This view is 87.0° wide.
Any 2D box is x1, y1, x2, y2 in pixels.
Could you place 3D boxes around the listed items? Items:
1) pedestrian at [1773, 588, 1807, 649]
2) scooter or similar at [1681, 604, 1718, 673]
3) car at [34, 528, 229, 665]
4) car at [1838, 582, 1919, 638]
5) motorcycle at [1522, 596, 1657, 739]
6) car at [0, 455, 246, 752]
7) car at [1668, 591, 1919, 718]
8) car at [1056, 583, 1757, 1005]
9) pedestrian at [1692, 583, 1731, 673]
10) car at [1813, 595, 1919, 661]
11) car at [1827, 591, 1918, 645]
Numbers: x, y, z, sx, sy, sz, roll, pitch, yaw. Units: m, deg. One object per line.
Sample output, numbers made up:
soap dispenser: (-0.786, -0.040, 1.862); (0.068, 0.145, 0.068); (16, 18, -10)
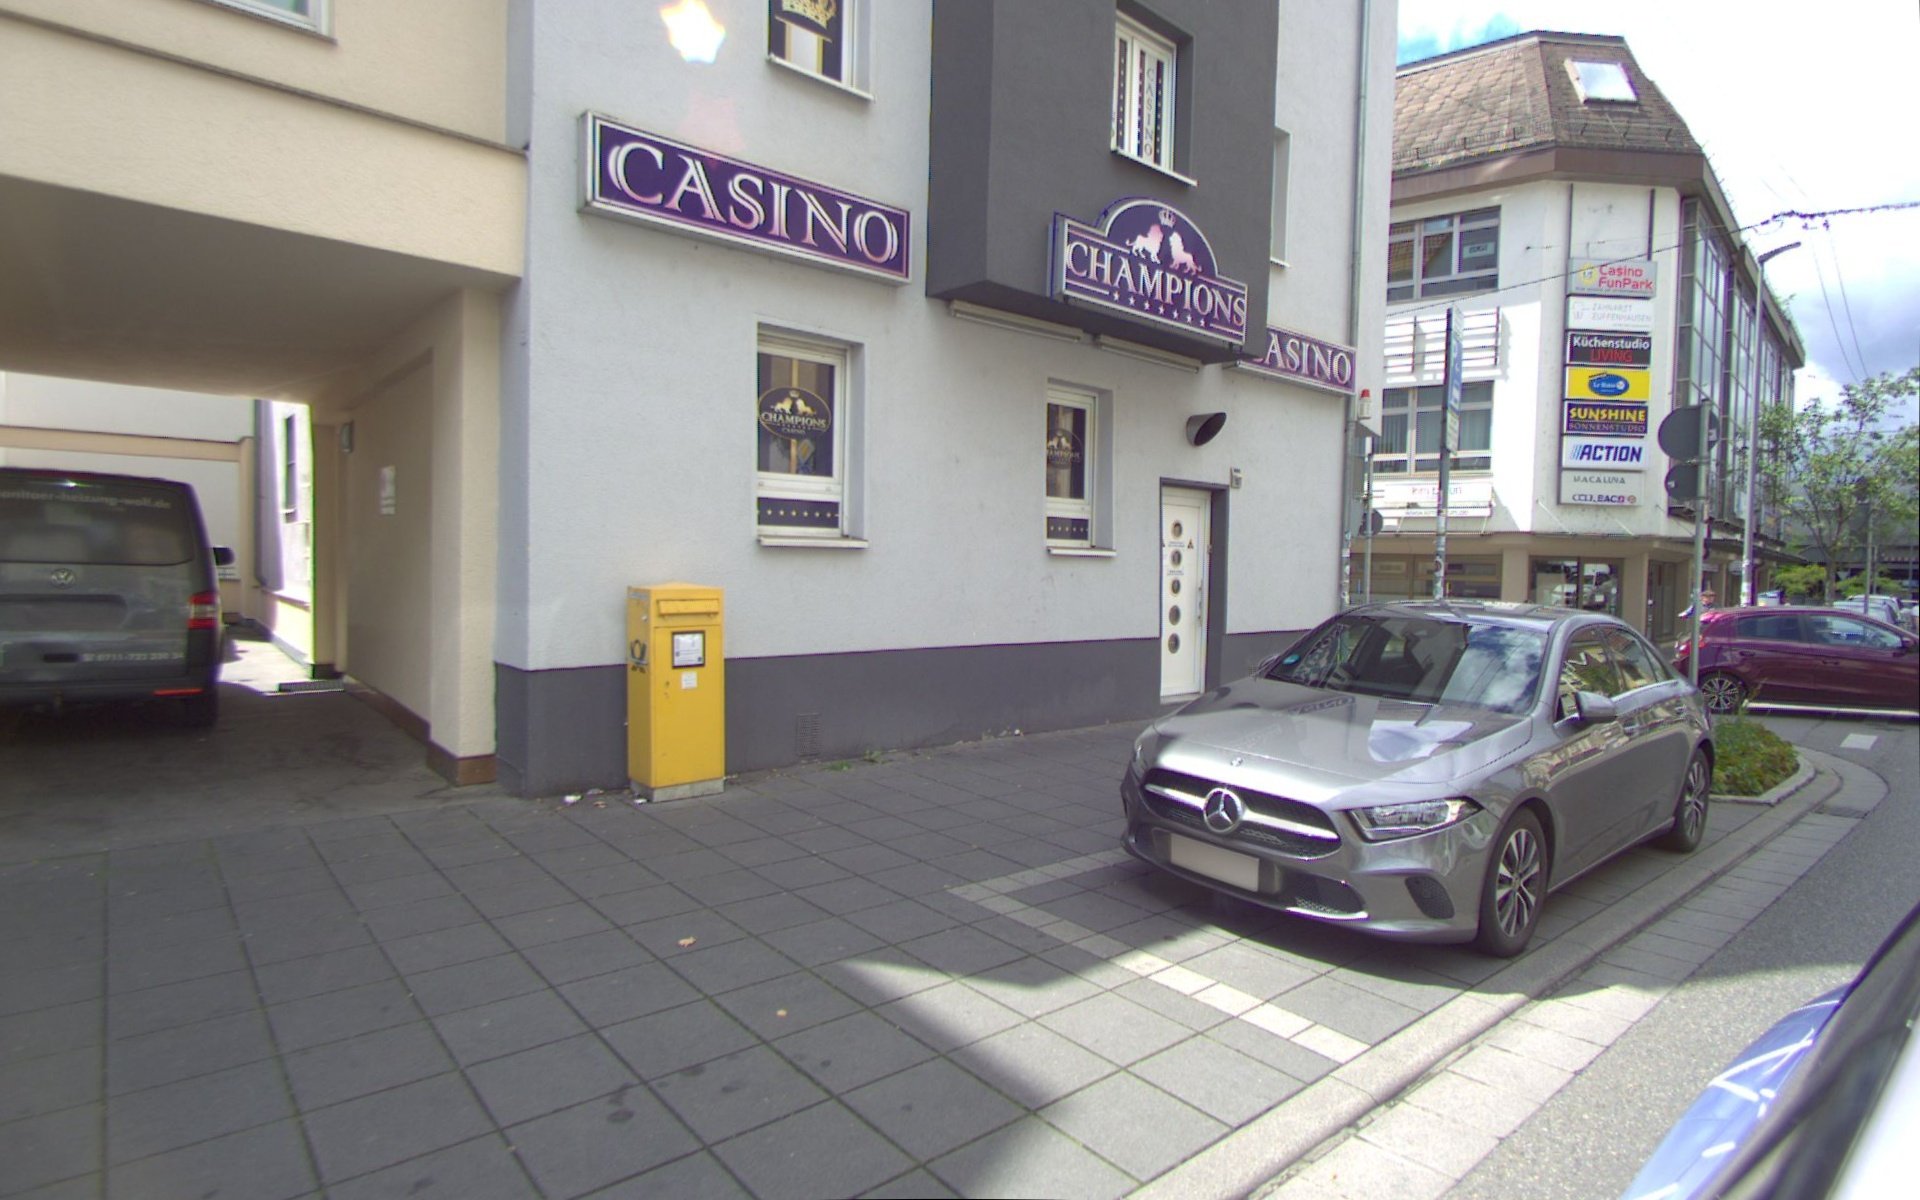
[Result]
pedestrian: (21.899, 0.487, 26.697); (0.469, 1.581, 0.660); (-1, 0, -44)
scooter or similar: (14.631, 0.734, 20.006); (0.430, 1.296, 1.229); (0, 1, 44)
car: (-10.868, -0.142, 13.330); (1.750, 1.449, 3.789); (0, 4, -40)
car: (31.436, 0.311, 34.367); (4.389, 1.681, 1.824); (0, 3, -42)
motorcycle: (6.479, 0.612, 10.348); (2.338, 1.275, 0.659); (-1, 1, -45)
car: (-7.431, -0.135, 8.572); (1.919, 1.955, 4.360); (0, 4, -40)
car: (11.769, 0.664, 13.551); (3.736, 1.549, 1.517); (0, 1, 36)
car: (2.643, 0.639, 5.487); (4.240, 1.438, 1.711); (-1, 1, -38)
pedestrian: (14.734, 0.530, 19.839); (0.570, 1.724, 0.474); (0, 0, 43)
car: (22.692, 0.629, 25.222); (4.477, 1.472, 1.716); (0, 2, -44)
car: (27.761, 0.487, 30.745); (1.853, 1.463, 4.463); (2, 2, 44)
